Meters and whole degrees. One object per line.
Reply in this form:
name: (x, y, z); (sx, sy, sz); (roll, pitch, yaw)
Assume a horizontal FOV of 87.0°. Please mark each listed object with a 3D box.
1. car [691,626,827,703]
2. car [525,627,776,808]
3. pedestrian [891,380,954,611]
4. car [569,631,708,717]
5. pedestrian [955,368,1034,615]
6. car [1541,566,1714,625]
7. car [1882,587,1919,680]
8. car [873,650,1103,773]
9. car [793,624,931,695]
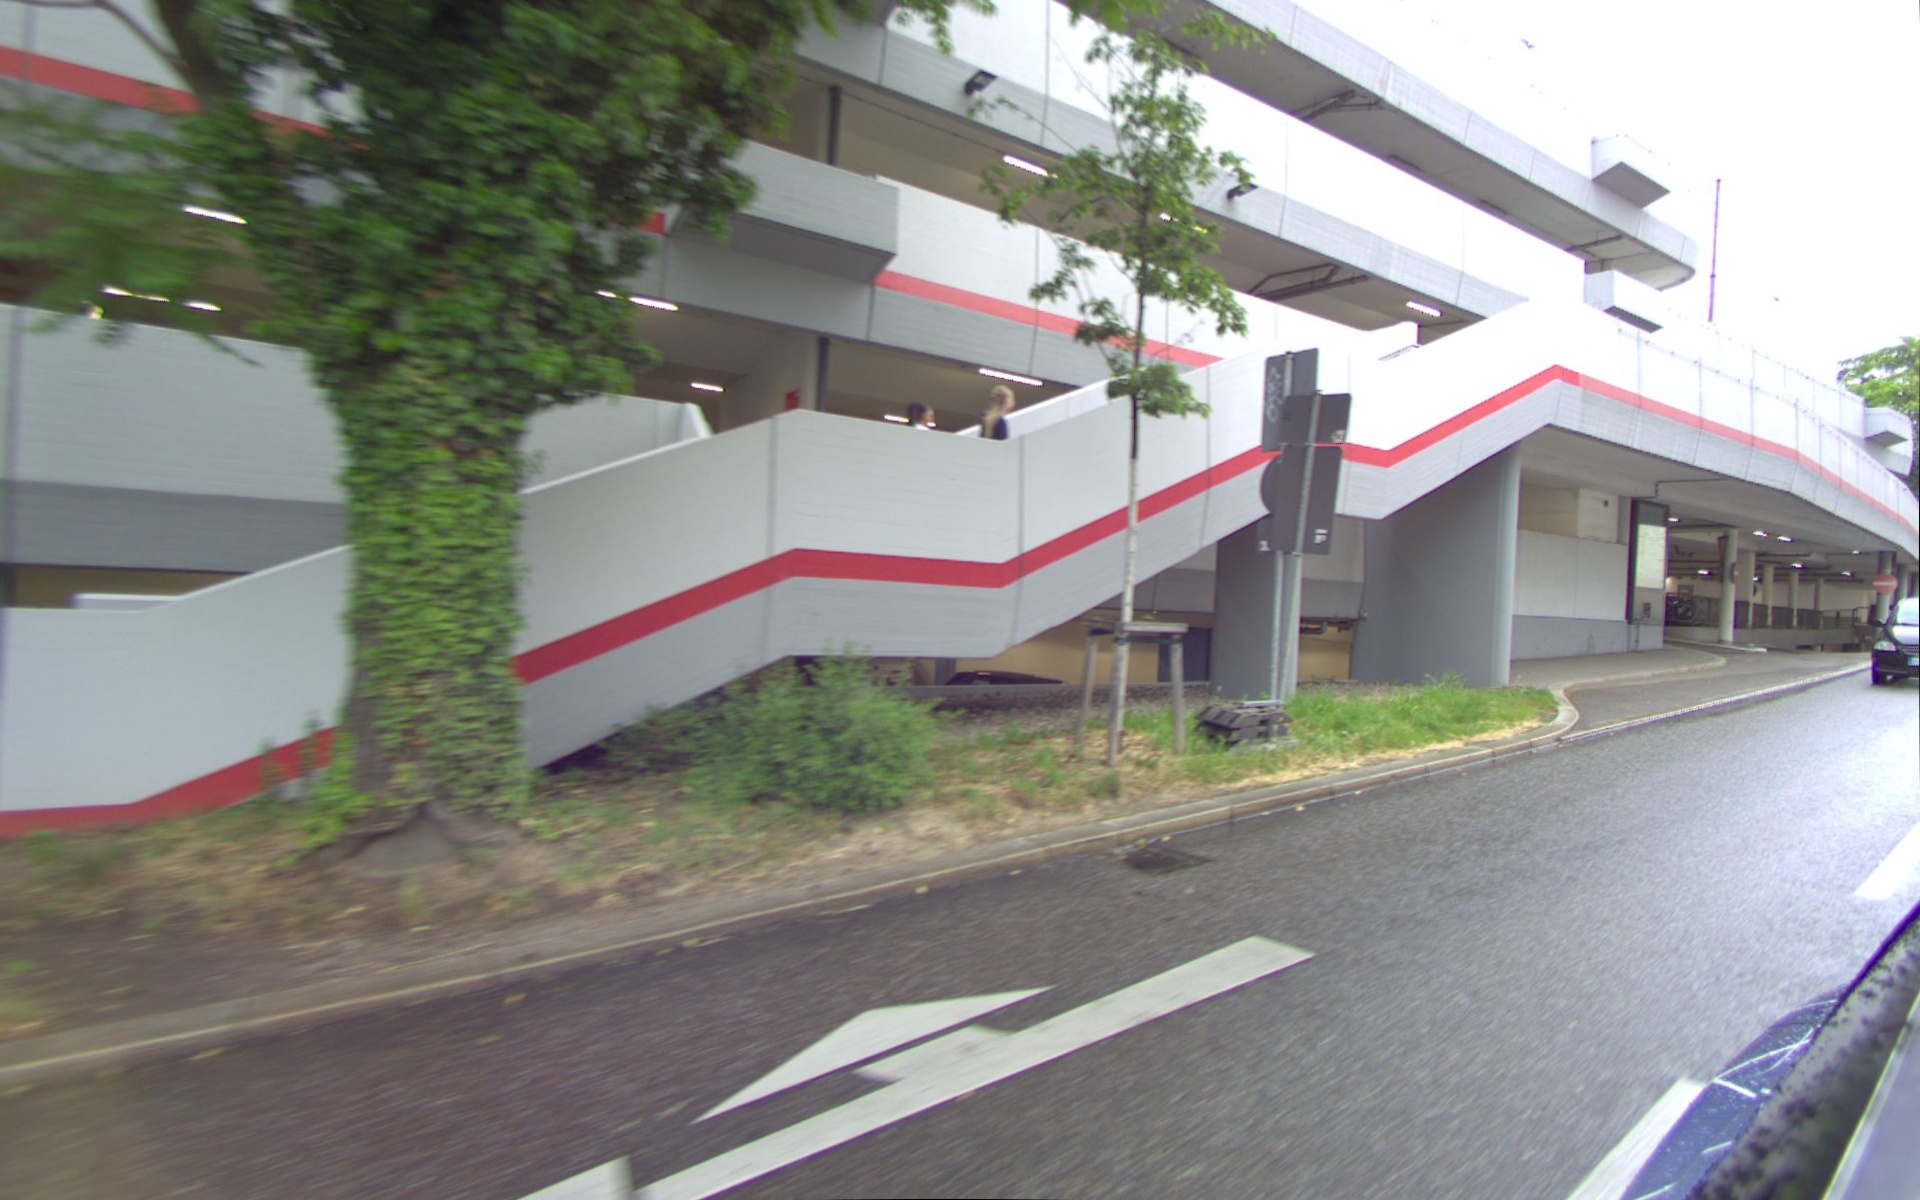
car: (-5.058, 1.561, 25.102); (1.803, 1.560, 4.001); (4, -1, -35)
car: (-3.955, 1.257, 12.472); (1.803, 1.644, 4.000); (0, 1, -35)
pedestrian: (-0.369, -0.997, 9.883); (0.426, 2.181, 0.422); (0, 1, -36)
car: (-7.295, 1.609, 22.748); (1.803, 1.560, 4.001); (4, -1, -35)
pedestrian: (0.315, -0.962, 9.283); (0.484, 2.181, 0.515); (0, 1, -36)
car: (21.741, -0.164, 33.143); (1.960, 1.682, 4.262); (5, -2, -31)
car: (17.759, 0.582, 17.911); (3.919, 1.545, 1.682); (1, -1, -41)
car: (0.348, 1.779, 17.013); (1.803, 1.560, 3.943); (4, -1, -35)
car: (-2.652, 1.522, 26.628); (1.803, 1.560, 4.001); (4, -1, -35)
